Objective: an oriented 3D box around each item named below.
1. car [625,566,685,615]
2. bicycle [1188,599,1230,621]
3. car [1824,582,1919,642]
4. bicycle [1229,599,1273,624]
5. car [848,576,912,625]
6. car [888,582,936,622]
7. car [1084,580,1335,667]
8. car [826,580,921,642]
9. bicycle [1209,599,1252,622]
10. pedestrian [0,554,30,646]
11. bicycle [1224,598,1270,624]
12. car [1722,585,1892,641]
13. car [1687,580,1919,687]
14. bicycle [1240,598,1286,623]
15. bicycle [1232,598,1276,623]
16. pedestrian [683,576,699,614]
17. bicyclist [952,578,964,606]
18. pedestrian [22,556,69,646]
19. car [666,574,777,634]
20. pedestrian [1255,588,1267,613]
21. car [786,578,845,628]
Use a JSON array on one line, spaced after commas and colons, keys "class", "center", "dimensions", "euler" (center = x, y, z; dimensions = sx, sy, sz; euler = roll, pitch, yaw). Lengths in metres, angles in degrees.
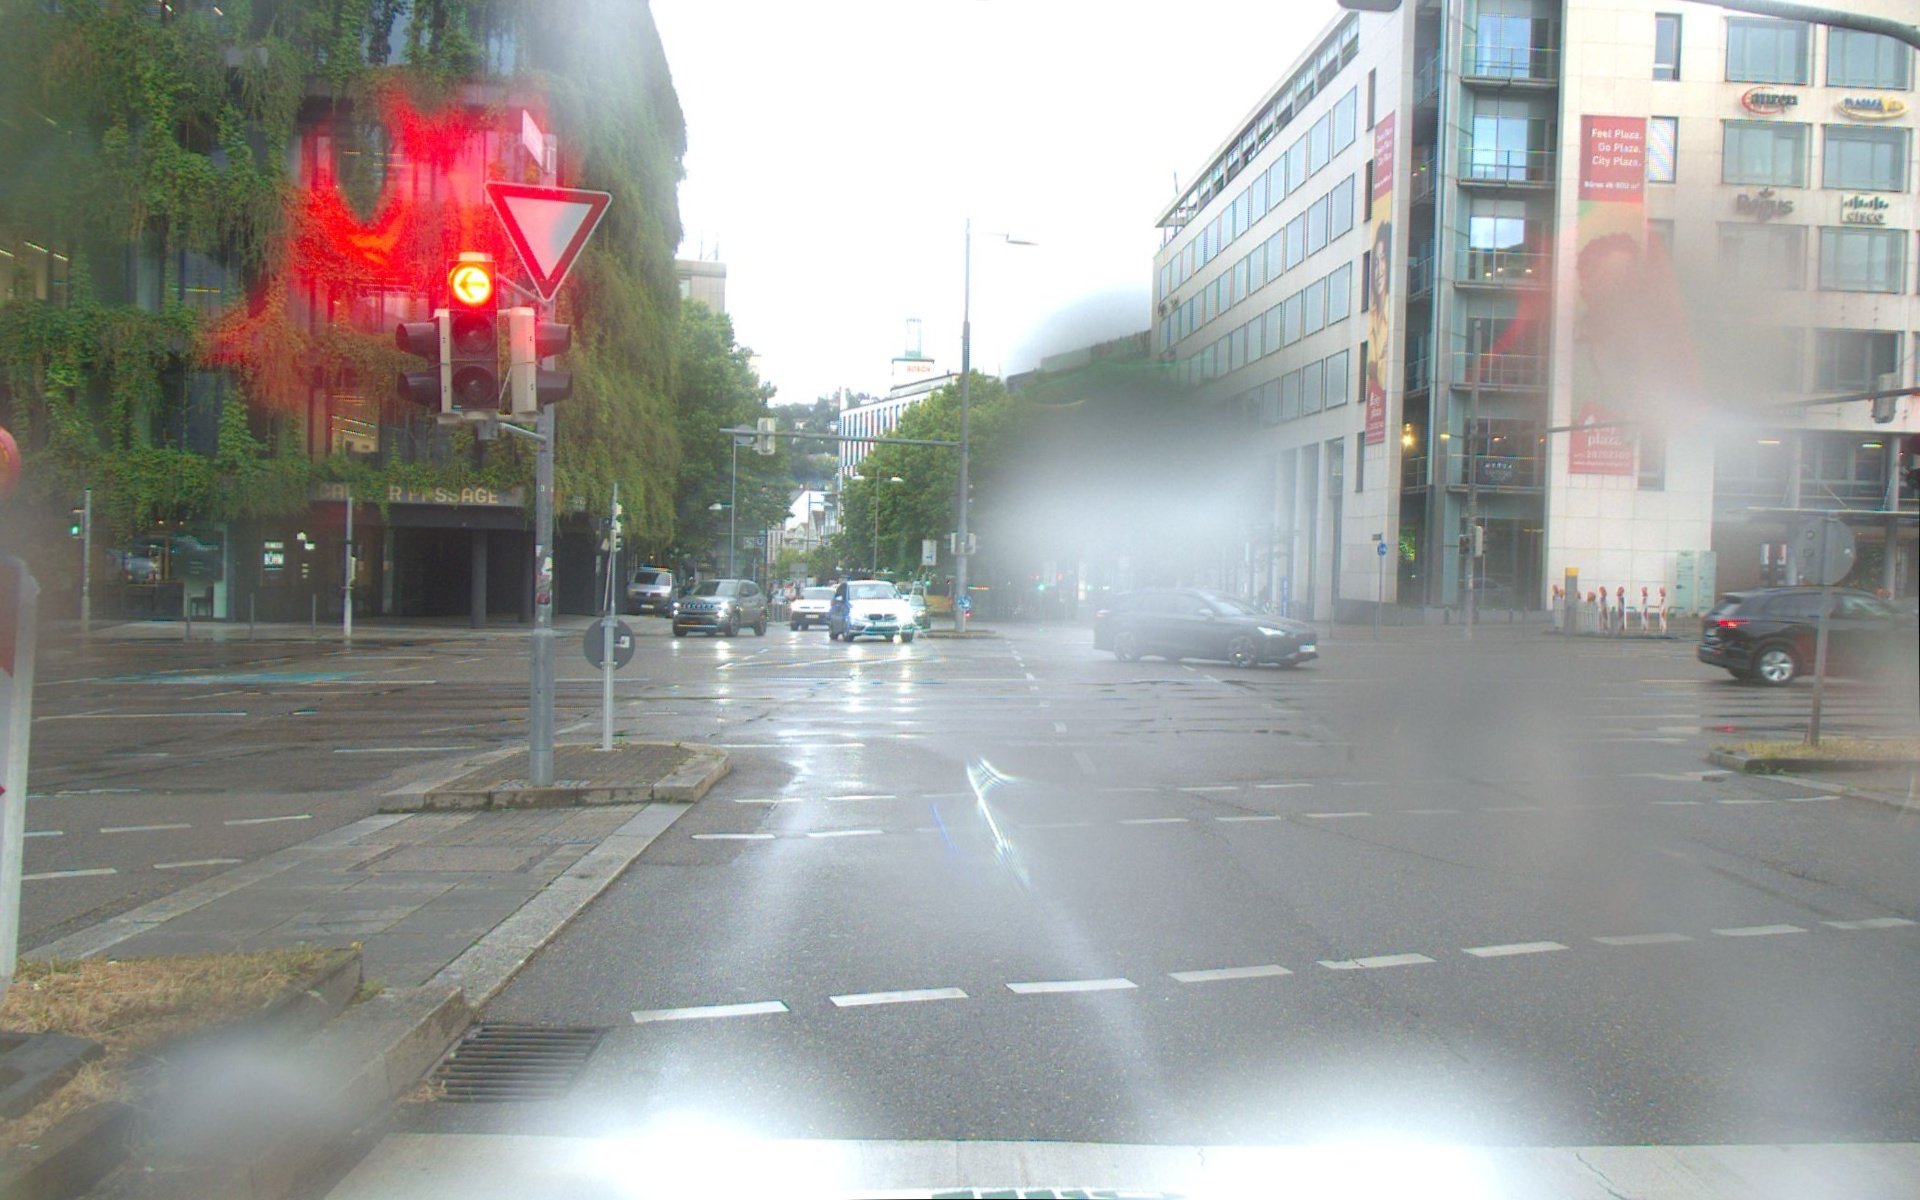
[{"class": "car", "center": [-12.524, -0.396, 68.112], "dimensions": [1.955, 1.928, 4.460], "euler": [1, 0, -5]}, {"class": "bicycle", "center": [10.965, 0.443, 72.906], "dimensions": [1.757, 0.950, 0.475], "euler": [1, 0, 2]}, {"class": "car", "center": [26.784, 0.341, 46.329], "dimensions": [4.373, 1.626, 1.994], "euler": [1, 0, -13]}, {"class": "bicycle", "center": [11.750, 0.463, 66.741], "dimensions": [1.767, 0.950, 0.473], "euler": [1, 0, 41]}, {"class": "car", "center": [-2.681, -0.010, 56.440], "dimensions": [1.952, 1.556, 4.556], "euler": [0, 2, 0]}, {"class": "car", "center": [-2.027, 0.058, 69.041], "dimensions": [1.953, 1.556, 4.554], "euler": [0, 2, -2]}, {"class": "car", "center": [4.653, 0.386, 31.378], "dimensions": [1.848, 1.473, 4.546], "euler": [0, 1, -44]}, {"class": "car", "center": [-2.348, 0.242, 43.722], "dimensions": [1.957, 1.468, 4.545], "euler": [0, 2, -10]}, {"class": "bicycle", "center": [11.609, 0.450, 71.067], "dimensions": [1.757, 0.950, 0.475], "euler": [1, 0, 2]}, {"class": "pedestrian", "center": [-19.111, -0.007, 32.911], "dimensions": [0.923, 1.788, 1.163], "euler": [0, 0, -24]}, {"class": "bicycle", "center": [11.152, 0.424, 64.379], "dimensions": [1.767, 0.950, 0.473], "euler": [1, 0, 41]}, {"class": "car", "center": [25.378, 0.378, 49.614], "dimensions": [4.378, 1.626, 1.992], "euler": [0, 0, -16]}, {"class": "car", "center": [14.790, 0.535, 27.937], "dimensions": [4.257, 1.684, 1.972], "euler": [0, 2, 12]}, {"class": "bicycle", "center": [11.899, 0.426, 65.032], "dimensions": [1.767, 0.950, 0.473], "euler": [1, 0, 41]}, {"class": "bicycle", "center": [11.725, 0.425, 65.996], "dimensions": [1.767, 0.950, 0.473], "euler": [1, 0, 41]}, {"class": "pedestrian", "center": [-11.006, -0.191, 67.662], "dimensions": [0.595, 1.550, 0.587], "euler": [1, 0, -5]}, {"class": "bicyclist", "center": [-0.145, -0.607, 120.175], "dimensions": [0.775, 2.009, 1.113], "euler": [1, 0, -3]}, {"class": "pedestrian", "center": [-18.419, 0.016, 33.325], "dimensions": [0.731, 1.788, 0.969], "euler": [0, 0, -24]}, {"class": "car", "center": [-6.856, 0.103, 47.968], "dimensions": [1.951, 1.626, 4.469], "euler": [1, 0, 9]}, {"class": "pedestrian", "center": [14.215, 0.021, 78.151], "dimensions": [0.408, 1.194, 0.351], "euler": [0, 0, 45]}, {"class": "car", "center": [-5.619, 0.100, 63.928], "dimensions": [2.133, 1.855, 4.637], "euler": [1, 0, -7]}]
